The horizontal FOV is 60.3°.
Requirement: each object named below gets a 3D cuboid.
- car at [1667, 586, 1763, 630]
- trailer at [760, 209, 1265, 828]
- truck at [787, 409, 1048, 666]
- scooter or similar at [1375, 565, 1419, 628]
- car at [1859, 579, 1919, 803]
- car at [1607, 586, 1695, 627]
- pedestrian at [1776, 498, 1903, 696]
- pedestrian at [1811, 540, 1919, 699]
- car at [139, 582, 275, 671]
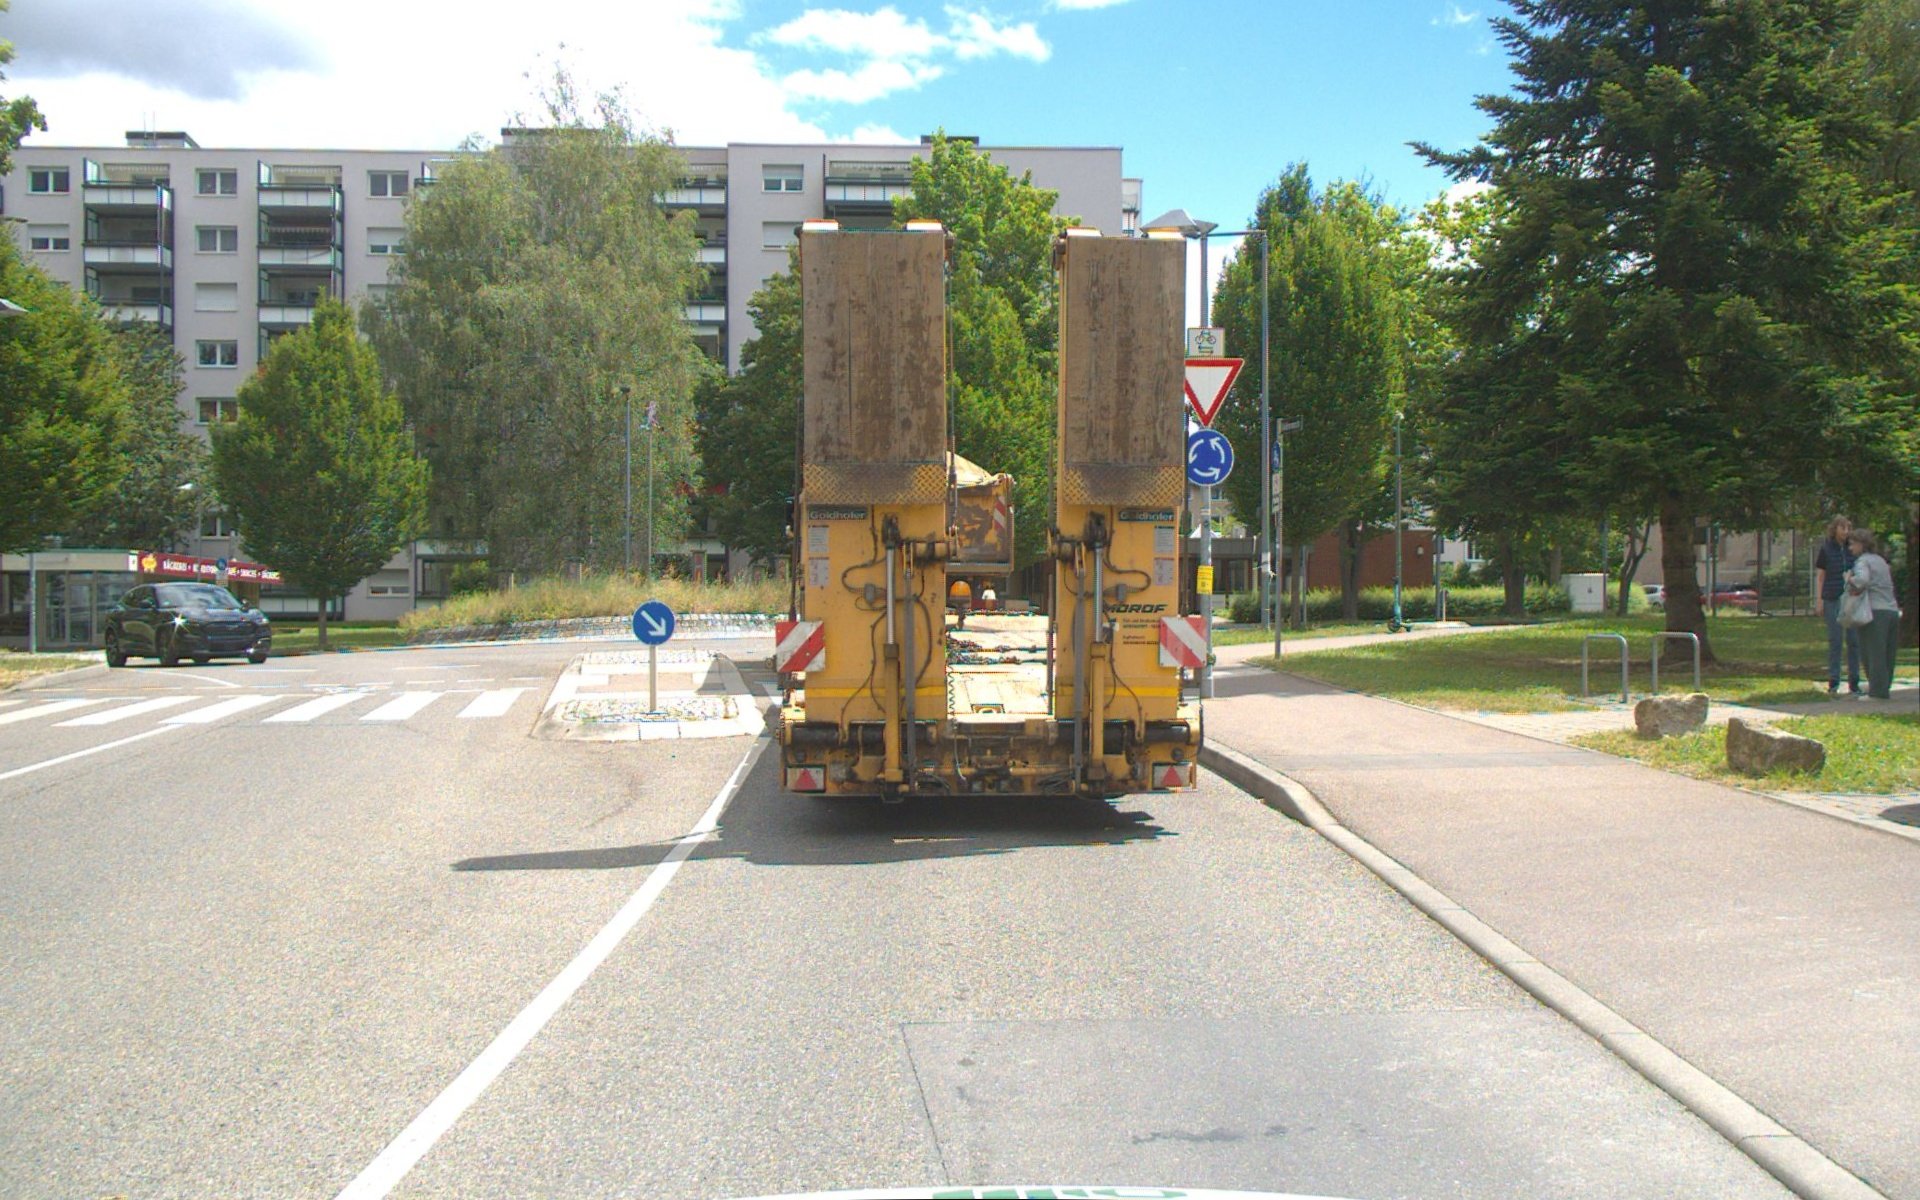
[{"bbox_3d":[35.427,0.343,77.730,1.980,1.975,3.981,1,0,-17],"label":"car"},{"bbox_3d":[-0.006,-0.554,14.764,2.807,3.431,10.835,1,1,-3],"label":"trailer"},{"bbox_3d":[-0.949,-0.889,24.424,2.931,3.087,8.473,1,2,-8],"label":"truck"},{"bbox_3d":[9.927,-0.093,37.548,0.476,1.366,1.384,-1,1,35],"label":"scooter or similar"},{"bbox_3d":[7.768,0.407,9.508,4.409,1.265,1.992,-4,1,-15],"label":"car"},{"bbox_3d":[34.173,0.290,81.911,1.962,1.975,3.981,1,0,-17],"label":"car"},{"bbox_3d":[9.385,-0.040,17.677,0.643,2.049,1.043,-1,0,-14],"label":"pedestrian"},{"bbox_3d":[9.148,0.190,16.667,0.728,1.556,0.689,-1,0,-11],"label":"pedestrian"},{"bbox_3d":[-14.538,0.467,31.803,1.973,1.552,4.479,-1,1,-30],"label":"car"}]
